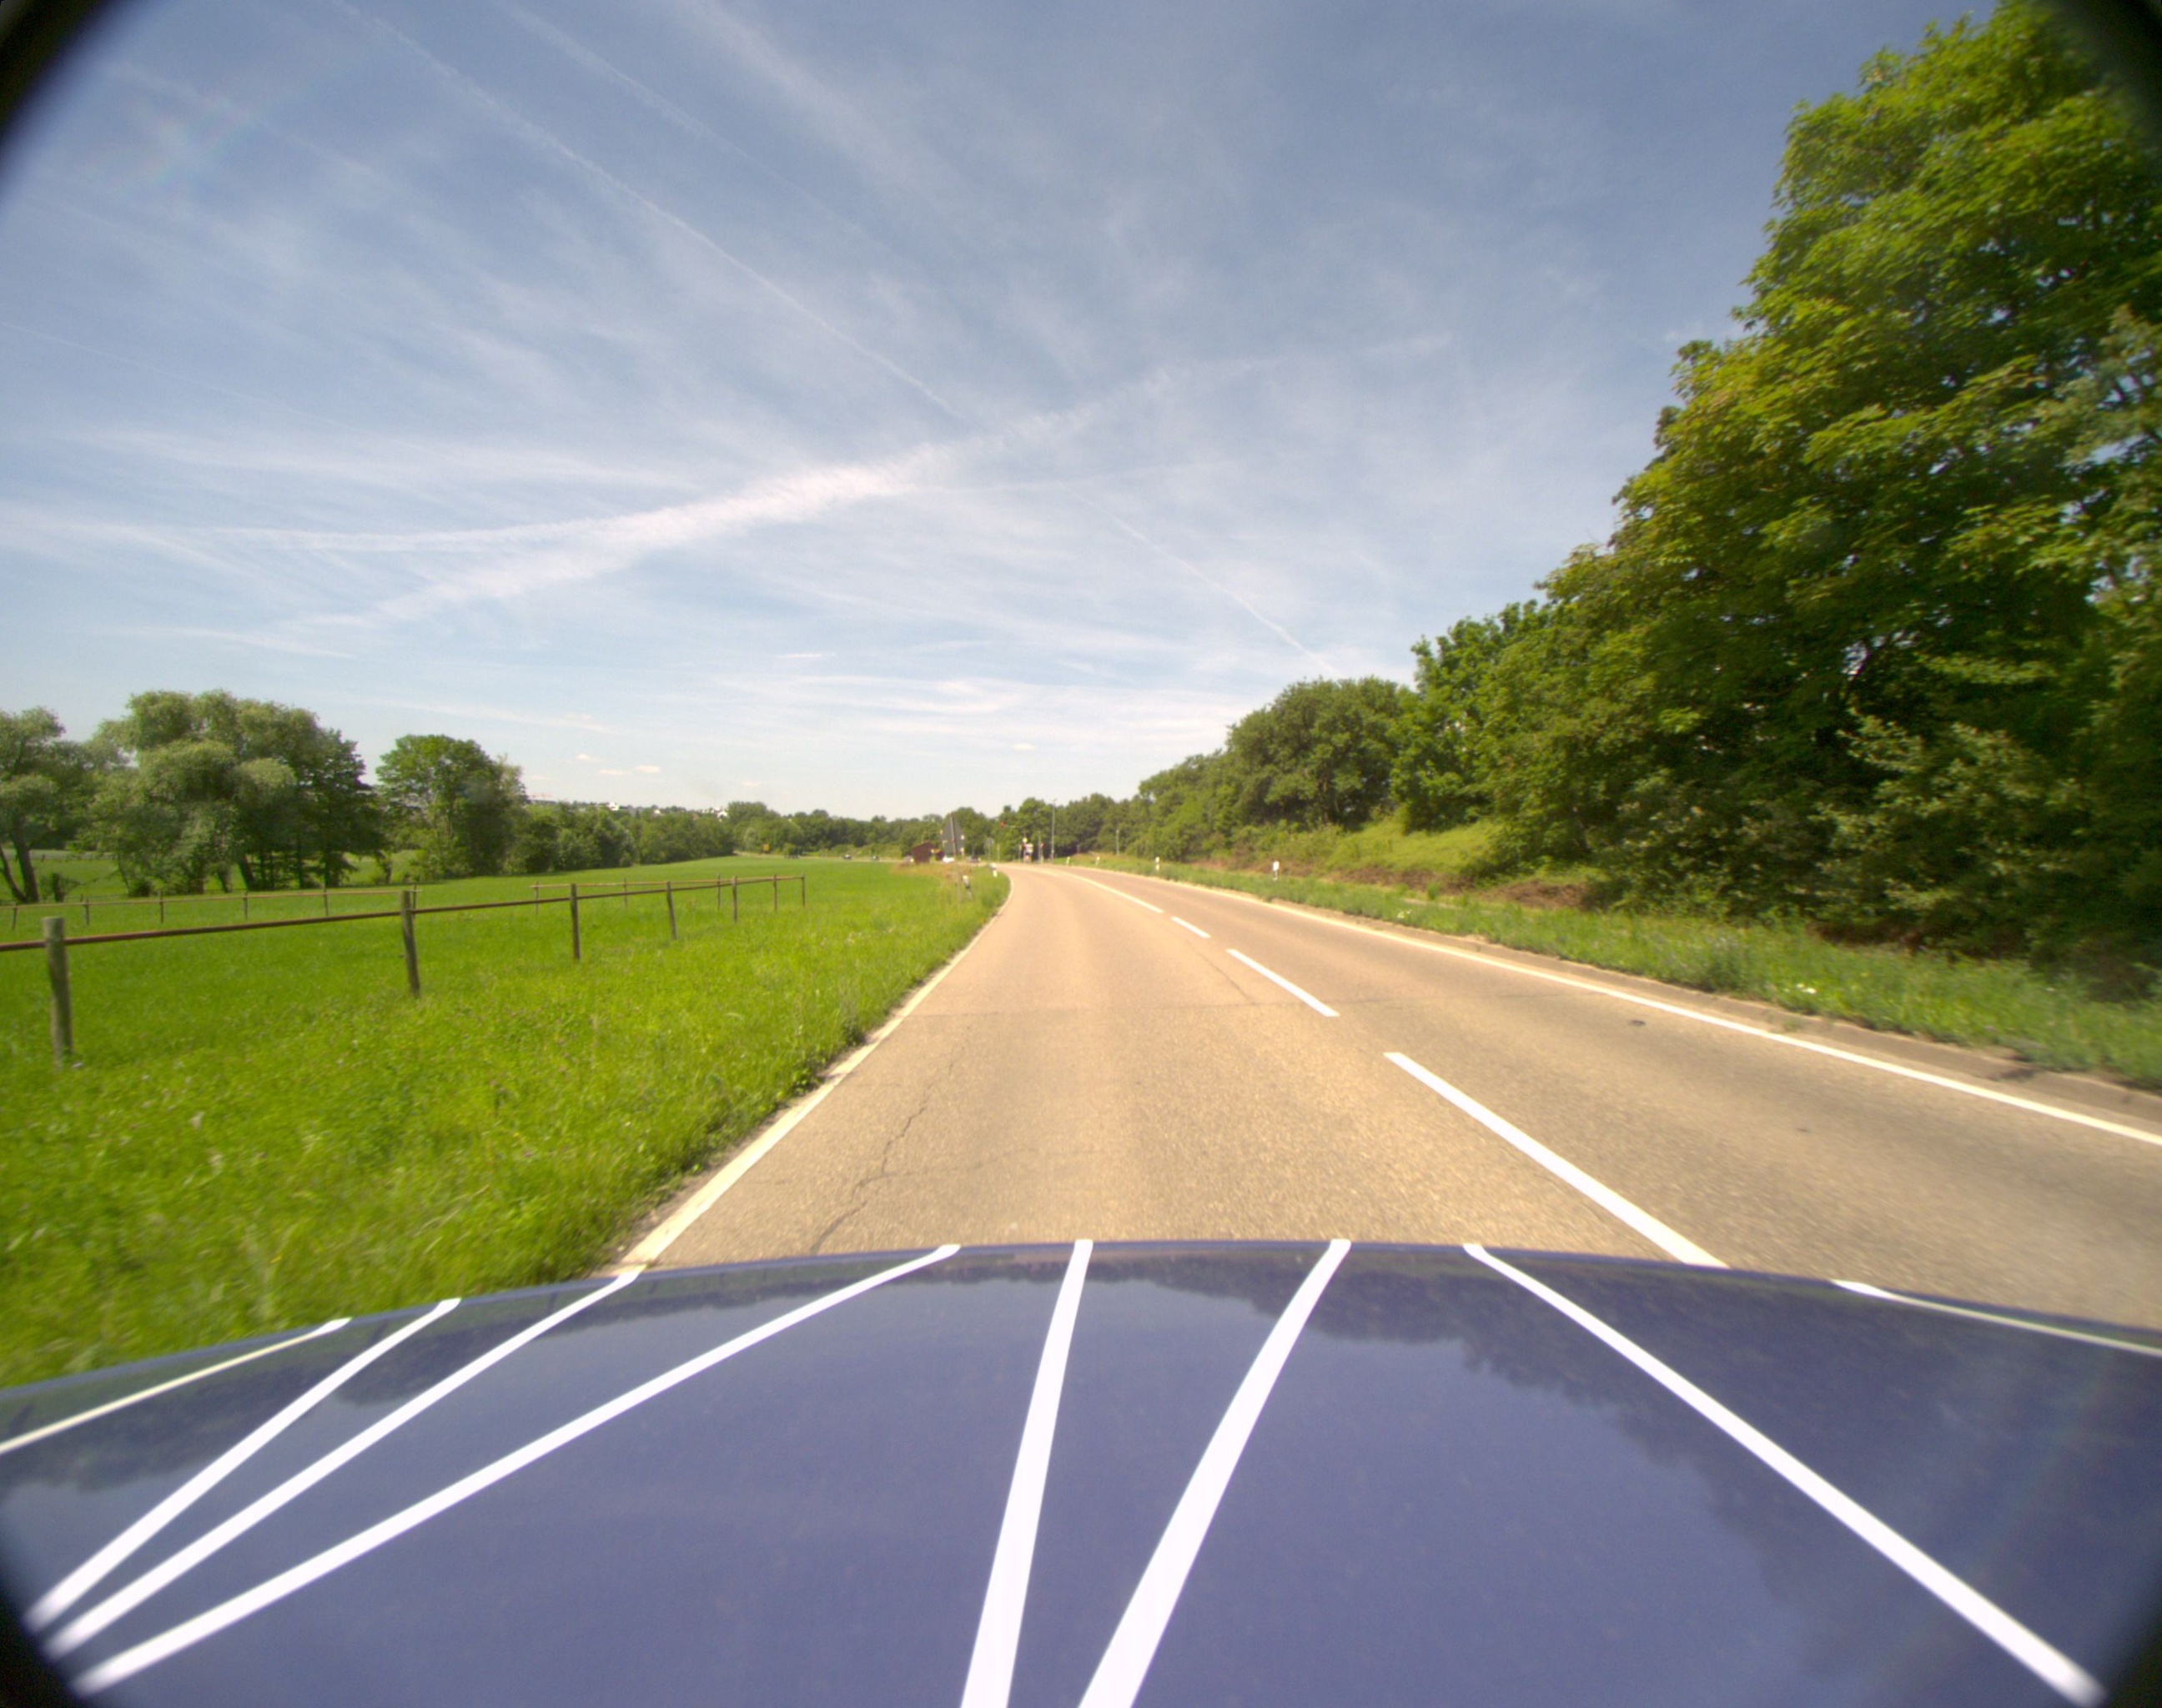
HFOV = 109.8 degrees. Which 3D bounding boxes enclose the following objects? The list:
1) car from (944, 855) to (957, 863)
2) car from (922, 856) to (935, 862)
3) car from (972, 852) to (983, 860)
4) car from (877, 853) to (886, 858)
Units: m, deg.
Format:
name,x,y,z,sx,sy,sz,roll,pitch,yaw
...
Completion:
name,x,y,z,sx,sy,sz,roll,pitch,yaw
car,-26.815,1.078,155.602,2.001,1.576,3.994,-2,0,-18
car,-38.454,1.206,191.696,1.946,1.539,4.618,-2,0,-26
car,-20.436,0.371,150.254,1.761,1.526,4.223,-2,0,-13
car,-61.269,0.515,233.081,1.714,1.474,3.824,-2,1,-27
